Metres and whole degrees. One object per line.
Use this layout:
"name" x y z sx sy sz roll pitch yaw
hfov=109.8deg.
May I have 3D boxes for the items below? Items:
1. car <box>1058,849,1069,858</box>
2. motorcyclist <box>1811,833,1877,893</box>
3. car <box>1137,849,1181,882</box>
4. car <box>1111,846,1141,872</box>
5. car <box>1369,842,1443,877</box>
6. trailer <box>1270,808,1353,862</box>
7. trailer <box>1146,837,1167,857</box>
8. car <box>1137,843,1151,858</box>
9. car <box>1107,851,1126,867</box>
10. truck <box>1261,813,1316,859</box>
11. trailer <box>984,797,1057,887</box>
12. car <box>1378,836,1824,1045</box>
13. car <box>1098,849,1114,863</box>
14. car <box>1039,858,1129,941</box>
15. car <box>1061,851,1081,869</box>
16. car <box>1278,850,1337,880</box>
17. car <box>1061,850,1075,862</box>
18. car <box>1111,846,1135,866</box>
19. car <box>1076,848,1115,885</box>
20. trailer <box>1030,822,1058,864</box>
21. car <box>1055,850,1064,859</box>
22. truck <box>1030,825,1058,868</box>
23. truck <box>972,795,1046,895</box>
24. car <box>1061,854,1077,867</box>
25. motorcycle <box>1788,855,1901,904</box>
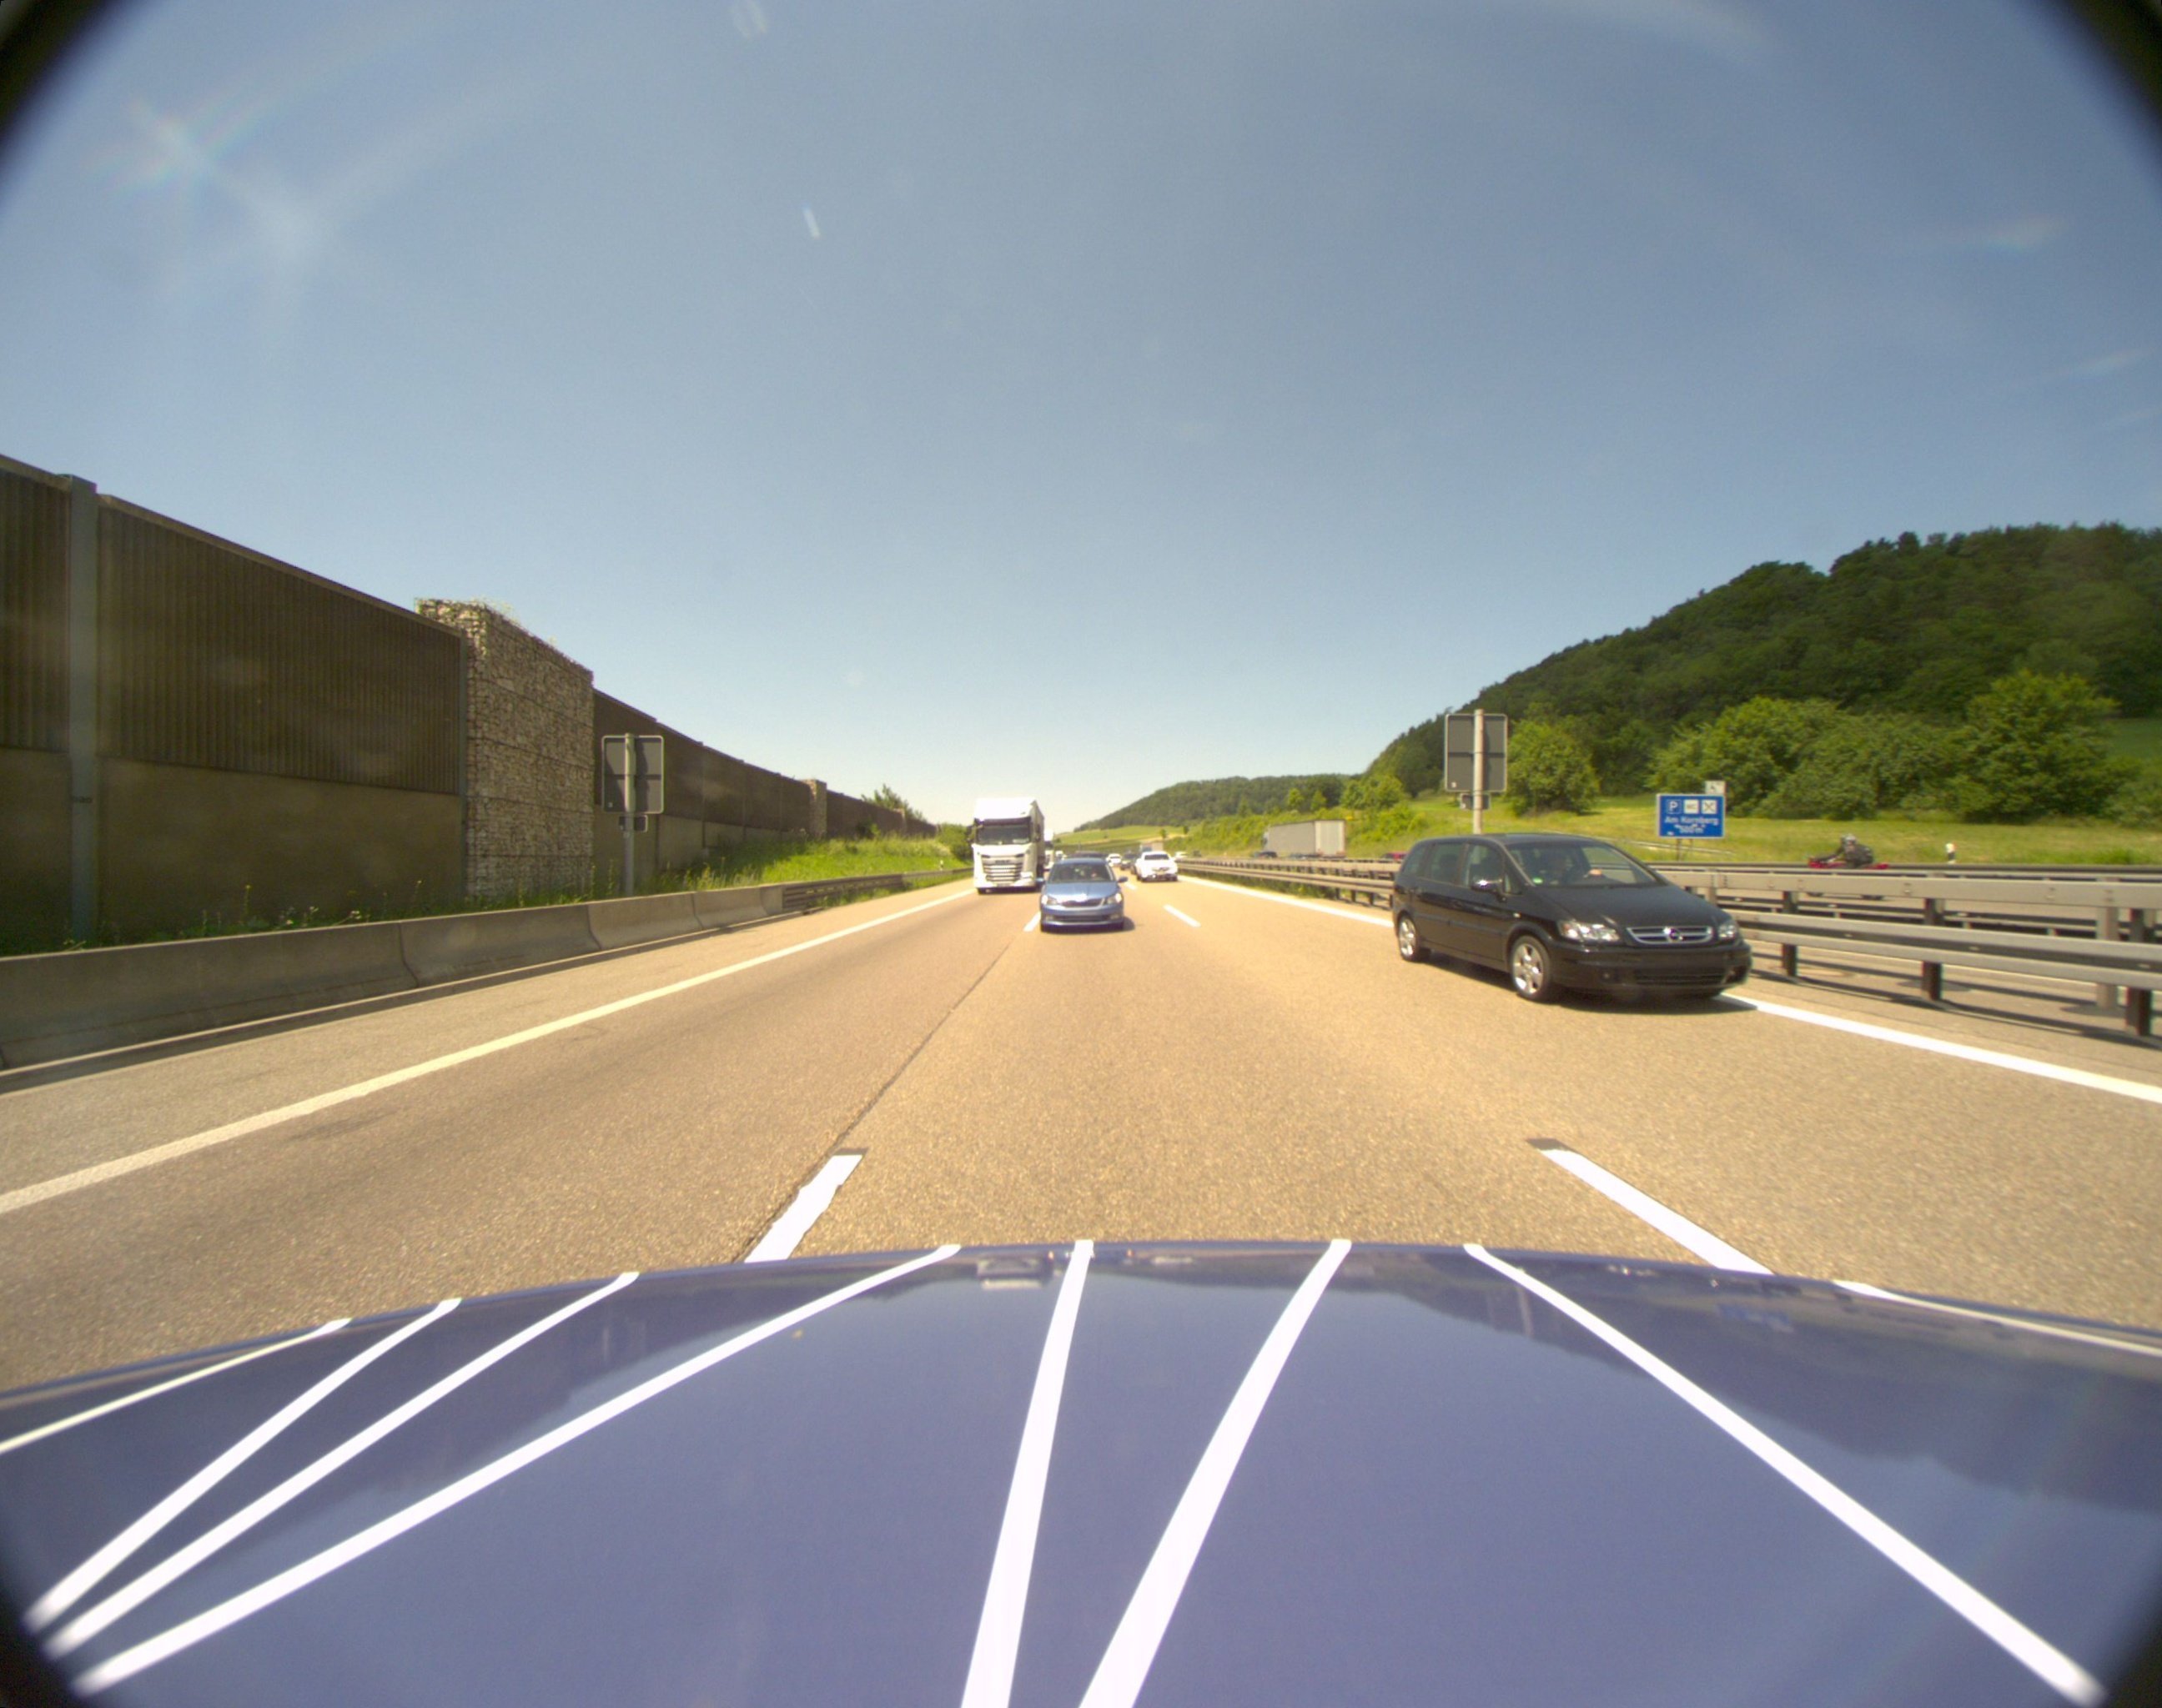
"car" -3.319 -0.121 143.985 1.999 1.702 3.998 -2 1 -2
"motorcyclist" 19.362 0.222 19.300 0.846 1.492 0.838 -1 1 -1
"car" 4.101 0.592 40.586 1.998 1.612 4.000 -2 1 1
"car" 3.249 0.322 55.318 1.998 1.692 3.999 -2 1 1
"car" 16.156 0.234 38.001 1.874 1.608 4.355 -1 0 1
"trailer" 19.916 -1.591 66.920 3.255 4.180 12.997 -2 1 0
"trailer" 16.181 -1.565 163.948 2.862 4.167 13.612 -2 1 0
"car" 12.105 -0.721 145.866 2.161 2.846 6.398 -2 1 0
"car" 4.135 0.576 88.135 1.998 1.702 3.999 -2 1 1
"truck" 19.979 -1.696 73.605 3.286 4.124 6.954 -2 1 0
"trailer" -2.907 -0.566 40.503 2.484 3.954 13.654 -1 0 1
"car" 5.005 0.673 8.261 1.805 1.625 4.445 -1 0 0
"car" 3.246 0.253 99.490 1.998 1.702 3.999 -2 1 1
"car" -0.030 0.860 16.520 1.660 1.481 4.652 -1 0 -2
"car" -1.068 0.568 79.190 1.999 1.702 3.998 -2 1 -2
"car" 12.055 0.545 40.788 1.754 1.459 4.627 -1 0 0
"car" -2.037 0.358 116.459 1.999 1.702 3.998 -2 1 -2
"car" 3.806 0.134 68.959 1.998 1.702 3.999 -2 1 1
"car" 0.665 0.586 37.346 1.737 1.674 4.197 -1 0 0
"trailer" -4.111 -1.157 81.630 2.545 4.085 13.621 -2 1 -4
"car" -5.084 0.202 179.305 1.999 2.002 3.998 -2 1 -2
"truck" -3.704 -0.748 75.709 2.532 4.065 6.076 -2 1 -4
"truck" -3.037 -0.366 33.688 2.484 3.954 6.381 -1 1 1
"car" -1.686 0.849 102.670 1.999 1.702 3.998 -2 1 -2
"motorcycle" 19.378 0.623 19.362 0.719 1.143 2.129 -1 1 0
